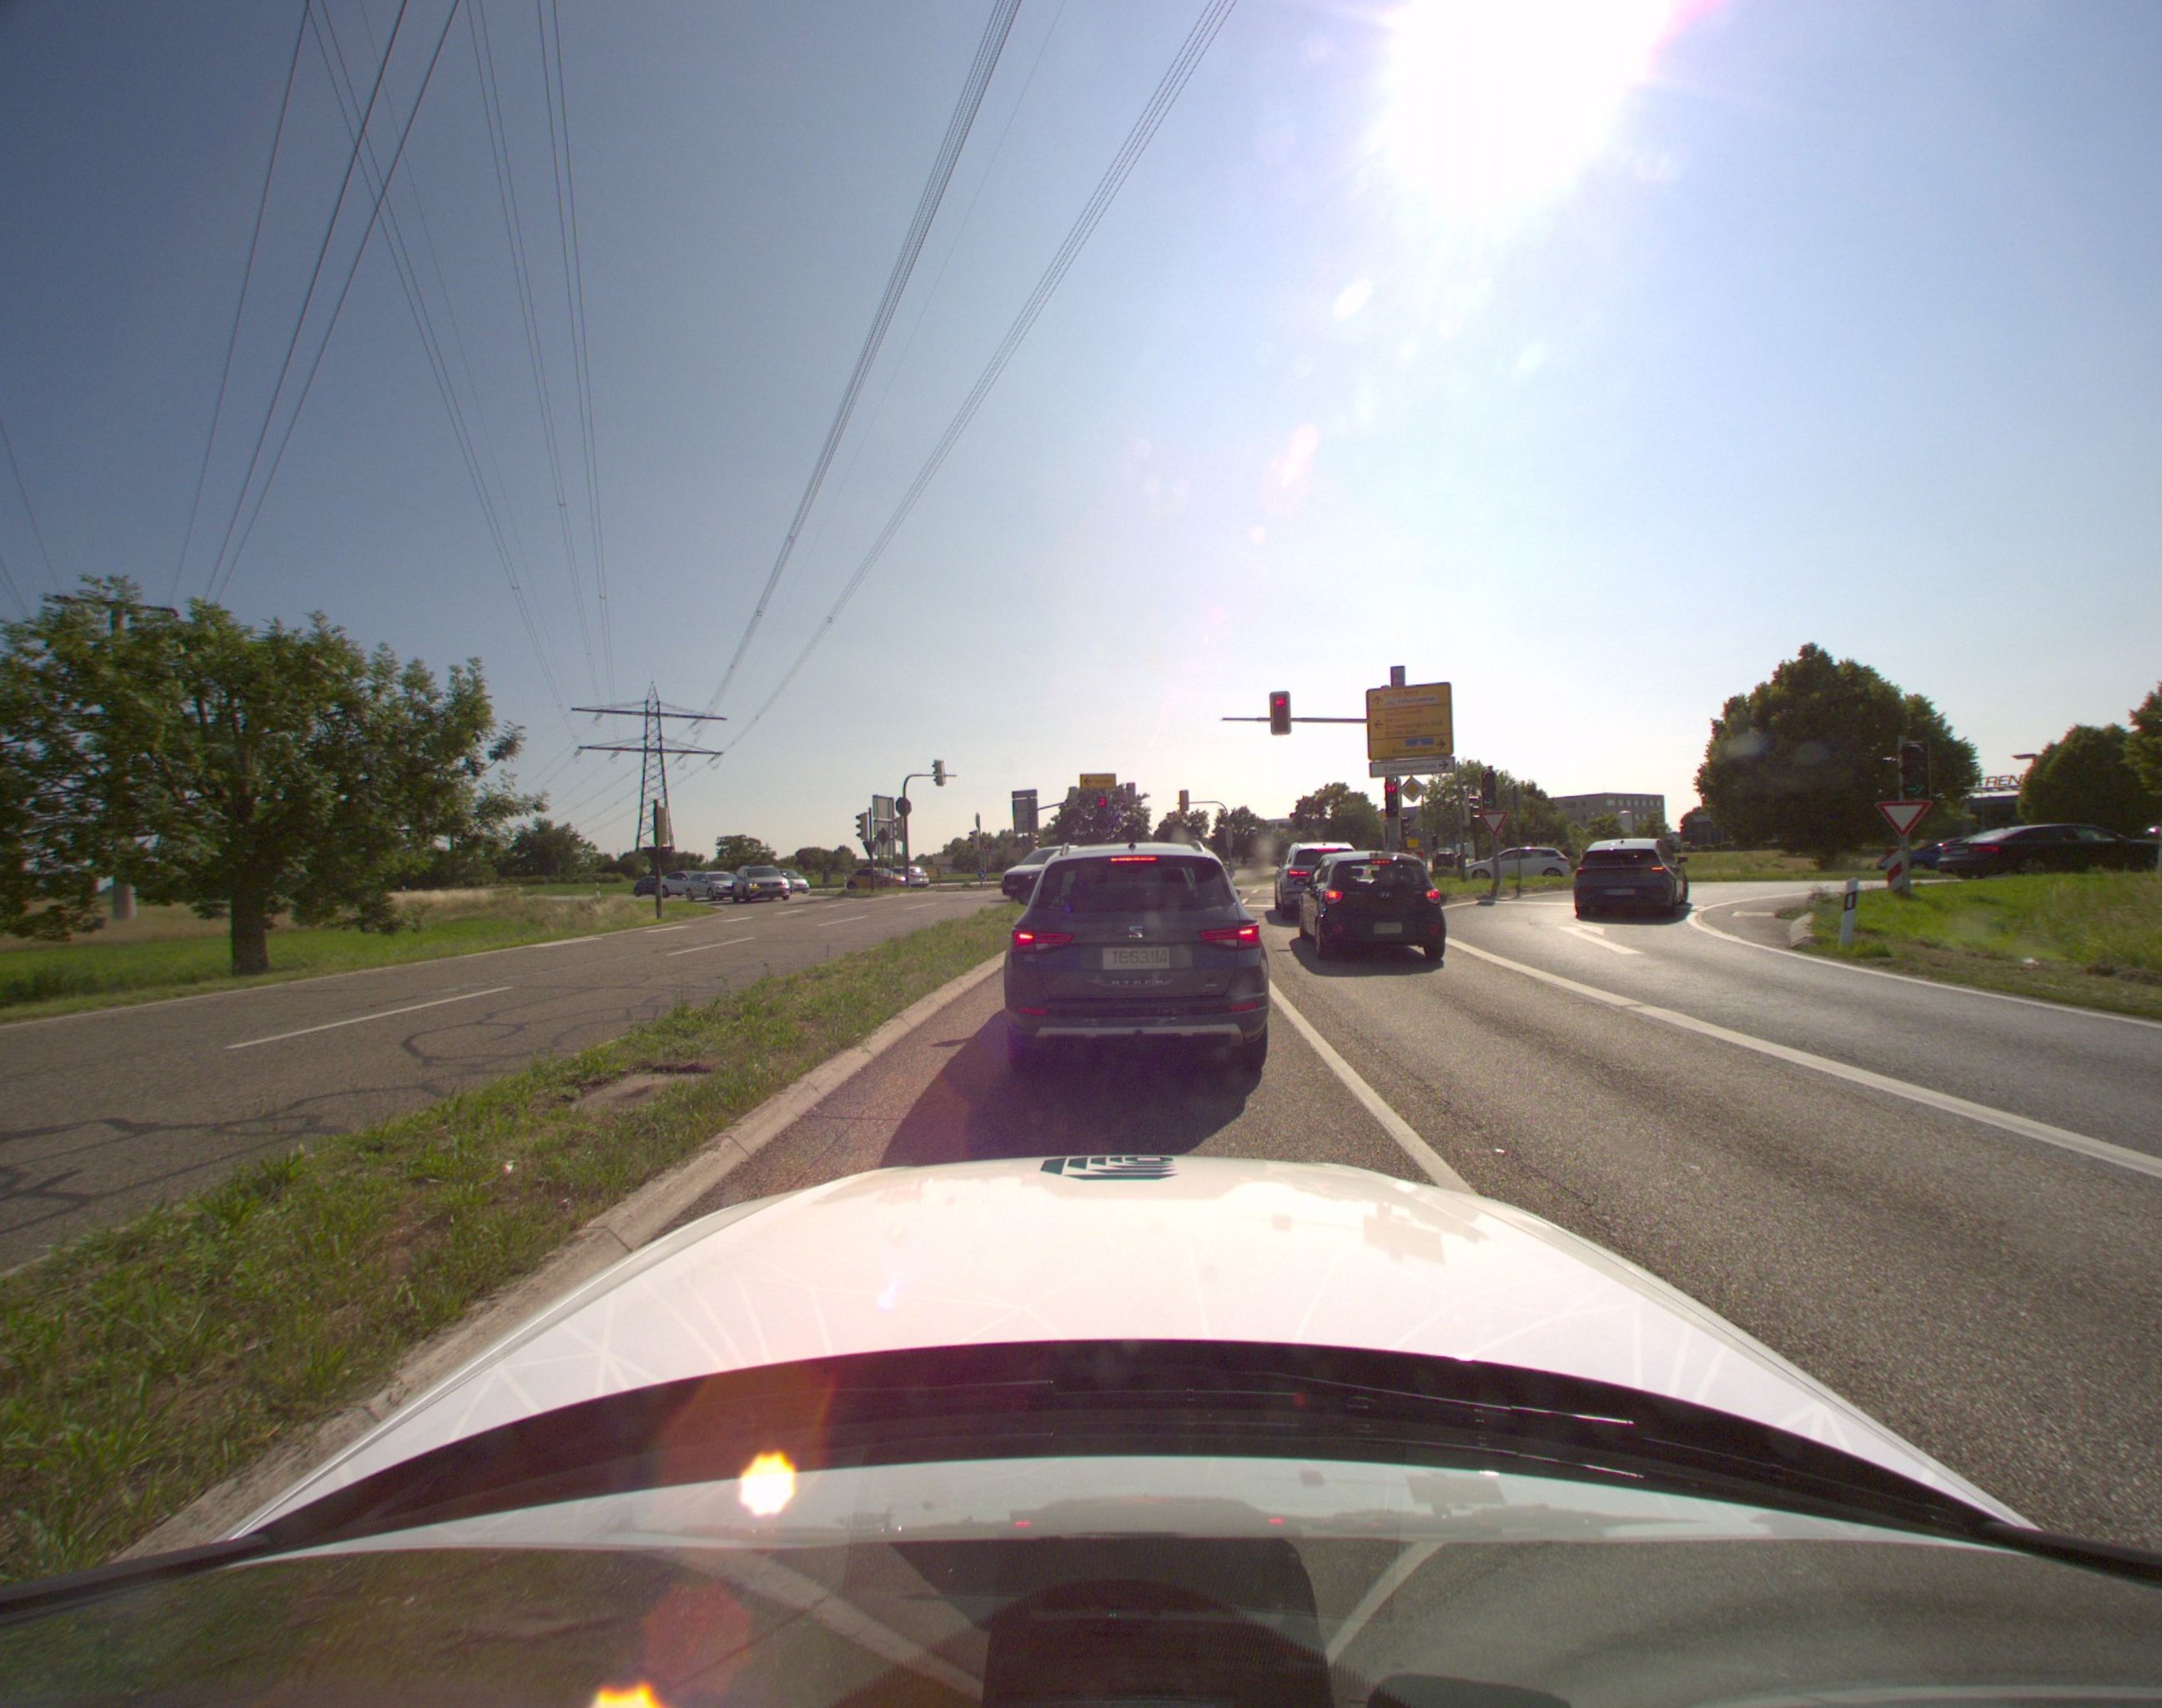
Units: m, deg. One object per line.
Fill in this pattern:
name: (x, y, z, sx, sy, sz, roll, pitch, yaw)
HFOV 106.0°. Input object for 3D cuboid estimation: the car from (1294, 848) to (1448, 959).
car: (4.230, 0.649, 12.335, 1.623, 1.448, 3.303, -1, 0, 9)

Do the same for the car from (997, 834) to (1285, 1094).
car: (0.434, 0.676, 6.740, 1.735, 1.569, 3.626, 0, 0, 2)

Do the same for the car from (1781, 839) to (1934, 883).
car: (29.094, 0.275, 30.691, 3.830, 1.519, 1.819, -2, -1, 30)

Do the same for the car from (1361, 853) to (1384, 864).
car: (40.676, 0.677, 113.734, 1.695, 1.548, 3.632, 0, -1, 44)

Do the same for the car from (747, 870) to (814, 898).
car: (-19.063, 1.938, 51.689, 3.948, 1.651, 1.832, -2, -1, 30)

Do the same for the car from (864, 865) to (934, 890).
car: (-12.092, 1.552, 54.050, 4.280, 1.519, 1.819, -2, -1, 28)

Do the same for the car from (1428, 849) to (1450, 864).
car: (42.609, 0.310, 96.864, 1.699, 1.819, 3.801, 0, -1, 34)

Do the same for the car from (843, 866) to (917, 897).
car: (-11.613, 1.593, 47.067, 3.948, 1.651, 1.832, -2, -1, 30)

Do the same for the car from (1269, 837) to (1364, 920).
car: (5.255, 0.517, 18.542, 1.623, 1.677, 3.759, -1, 0, 9)

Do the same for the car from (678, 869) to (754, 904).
car: (-18.511, 1.657, 41.251, 3.948, 1.651, 1.832, -2, -1, 38)

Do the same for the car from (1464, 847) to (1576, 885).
car: (17.678, 0.489, 32.868, 3.862, 1.465, 1.734, -1, -1, 30)

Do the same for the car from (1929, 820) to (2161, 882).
car: (24.272, -0.075, 20.402, 3.961, 1.385, 1.652, -2, 0, 11)

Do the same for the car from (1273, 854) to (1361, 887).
car: (11.753, 0.816, 40.568, 3.831, 1.519, 1.819, -2, -1, 28)

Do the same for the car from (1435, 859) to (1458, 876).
car: (36.694, 1.291, 81.677, 1.859, 1.673, 3.793, 0, 0, 28)

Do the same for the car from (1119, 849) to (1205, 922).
car: (1.884, 0.647, 18.366, 1.732, 1.484, 3.632, 0, 0, 8)

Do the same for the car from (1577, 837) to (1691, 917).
car: (12.027, 0.416, 17.599, 1.756, 1.517, 4.126, -1, 0, 38)

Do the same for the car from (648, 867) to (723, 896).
car: (-24.612, 1.736, 50.629, 4.700, 1.651, 1.831, -2, -1, 30)

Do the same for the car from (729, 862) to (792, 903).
car: (-14.330, 1.237, 36.290, 1.827, 1.651, 3.958, -1, -1, -33)

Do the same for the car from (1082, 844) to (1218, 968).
car: (0.984, 0.676, 12.191, 1.734, 1.569, 3.627, 0, 0, 3)

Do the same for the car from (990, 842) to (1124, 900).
car: (-0.764, 0.527, 29.529, 1.975, 1.918, 4.978, 0, 0, 42)
